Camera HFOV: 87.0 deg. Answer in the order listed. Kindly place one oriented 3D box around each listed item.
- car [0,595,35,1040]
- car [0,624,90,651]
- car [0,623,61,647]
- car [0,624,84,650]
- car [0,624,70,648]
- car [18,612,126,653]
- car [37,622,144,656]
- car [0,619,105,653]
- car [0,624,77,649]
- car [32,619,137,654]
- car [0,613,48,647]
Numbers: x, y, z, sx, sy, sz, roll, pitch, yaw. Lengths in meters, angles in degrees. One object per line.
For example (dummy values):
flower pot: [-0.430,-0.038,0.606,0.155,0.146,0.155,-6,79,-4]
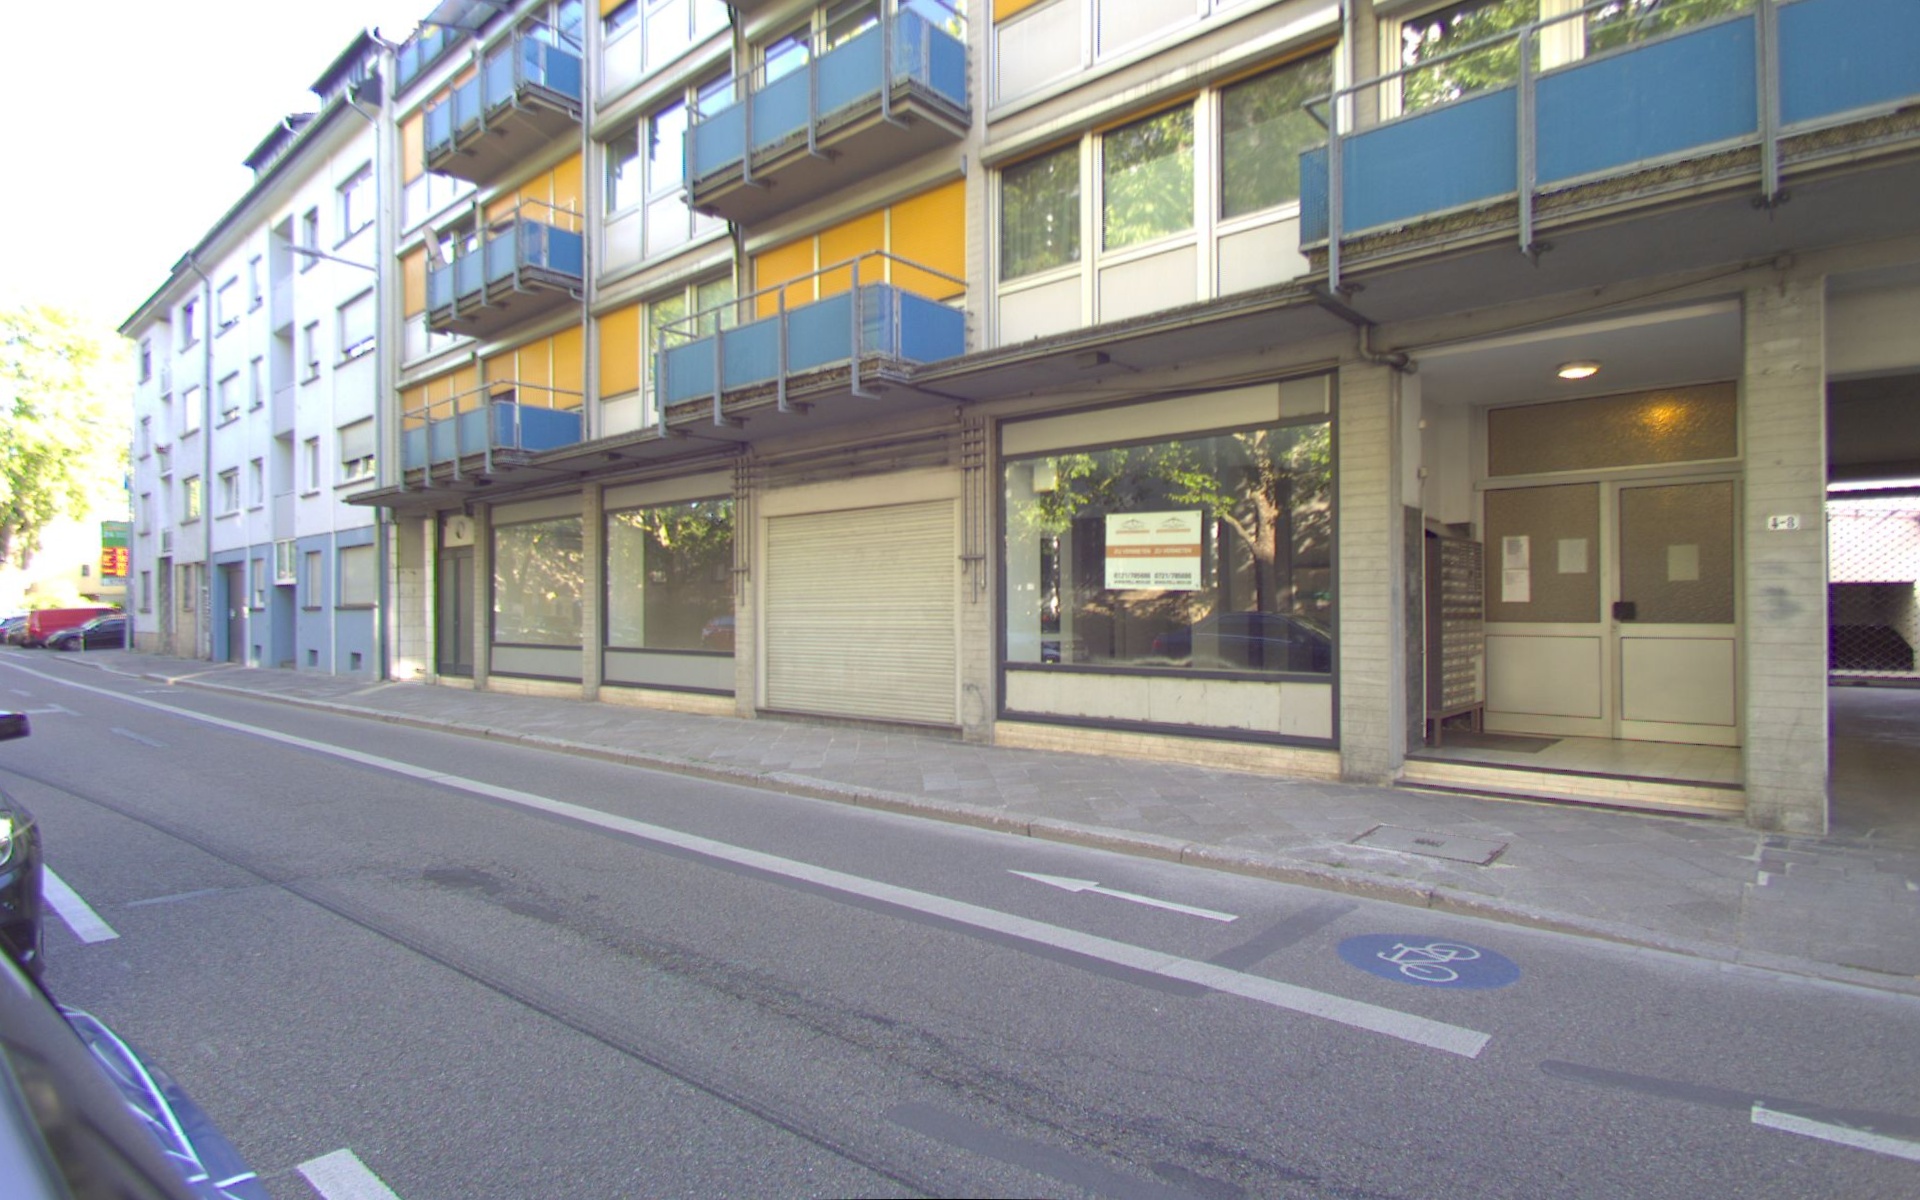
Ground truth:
car: [-5.435,0.771,4.212,4.291,1.515,1.805,-1,0,40]
car: [-51.853,2.104,57.225,1.594,1.385,3.854,-1,0,42]
car: [-59.219,2.197,63.762,1.539,1.451,3.733,-1,0,42]
car: [-53.367,2.124,58.564,1.594,1.385,3.854,-1,0,42]
car: [-57.189,2.209,62.004,1.525,1.343,3.854,-1,0,42]
car: [-43.710,1.573,49.869,1.749,1.921,3.854,-1,-1,42]
car: [-39.799,1.754,46.355,1.534,1.420,3.551,-2,-1,42]
car: [-46.057,1.788,51.407,1.603,1.598,3.854,-1,0,42]
car: [-55.383,2.185,60.443,1.525,1.343,3.854,-1,0,42]
car: [-41.517,1.708,48.051,1.602,1.521,3.620,-1,0,42]
car: [-62.717,1.976,66.592,1.725,2.193,3.854,-1,0,42]
